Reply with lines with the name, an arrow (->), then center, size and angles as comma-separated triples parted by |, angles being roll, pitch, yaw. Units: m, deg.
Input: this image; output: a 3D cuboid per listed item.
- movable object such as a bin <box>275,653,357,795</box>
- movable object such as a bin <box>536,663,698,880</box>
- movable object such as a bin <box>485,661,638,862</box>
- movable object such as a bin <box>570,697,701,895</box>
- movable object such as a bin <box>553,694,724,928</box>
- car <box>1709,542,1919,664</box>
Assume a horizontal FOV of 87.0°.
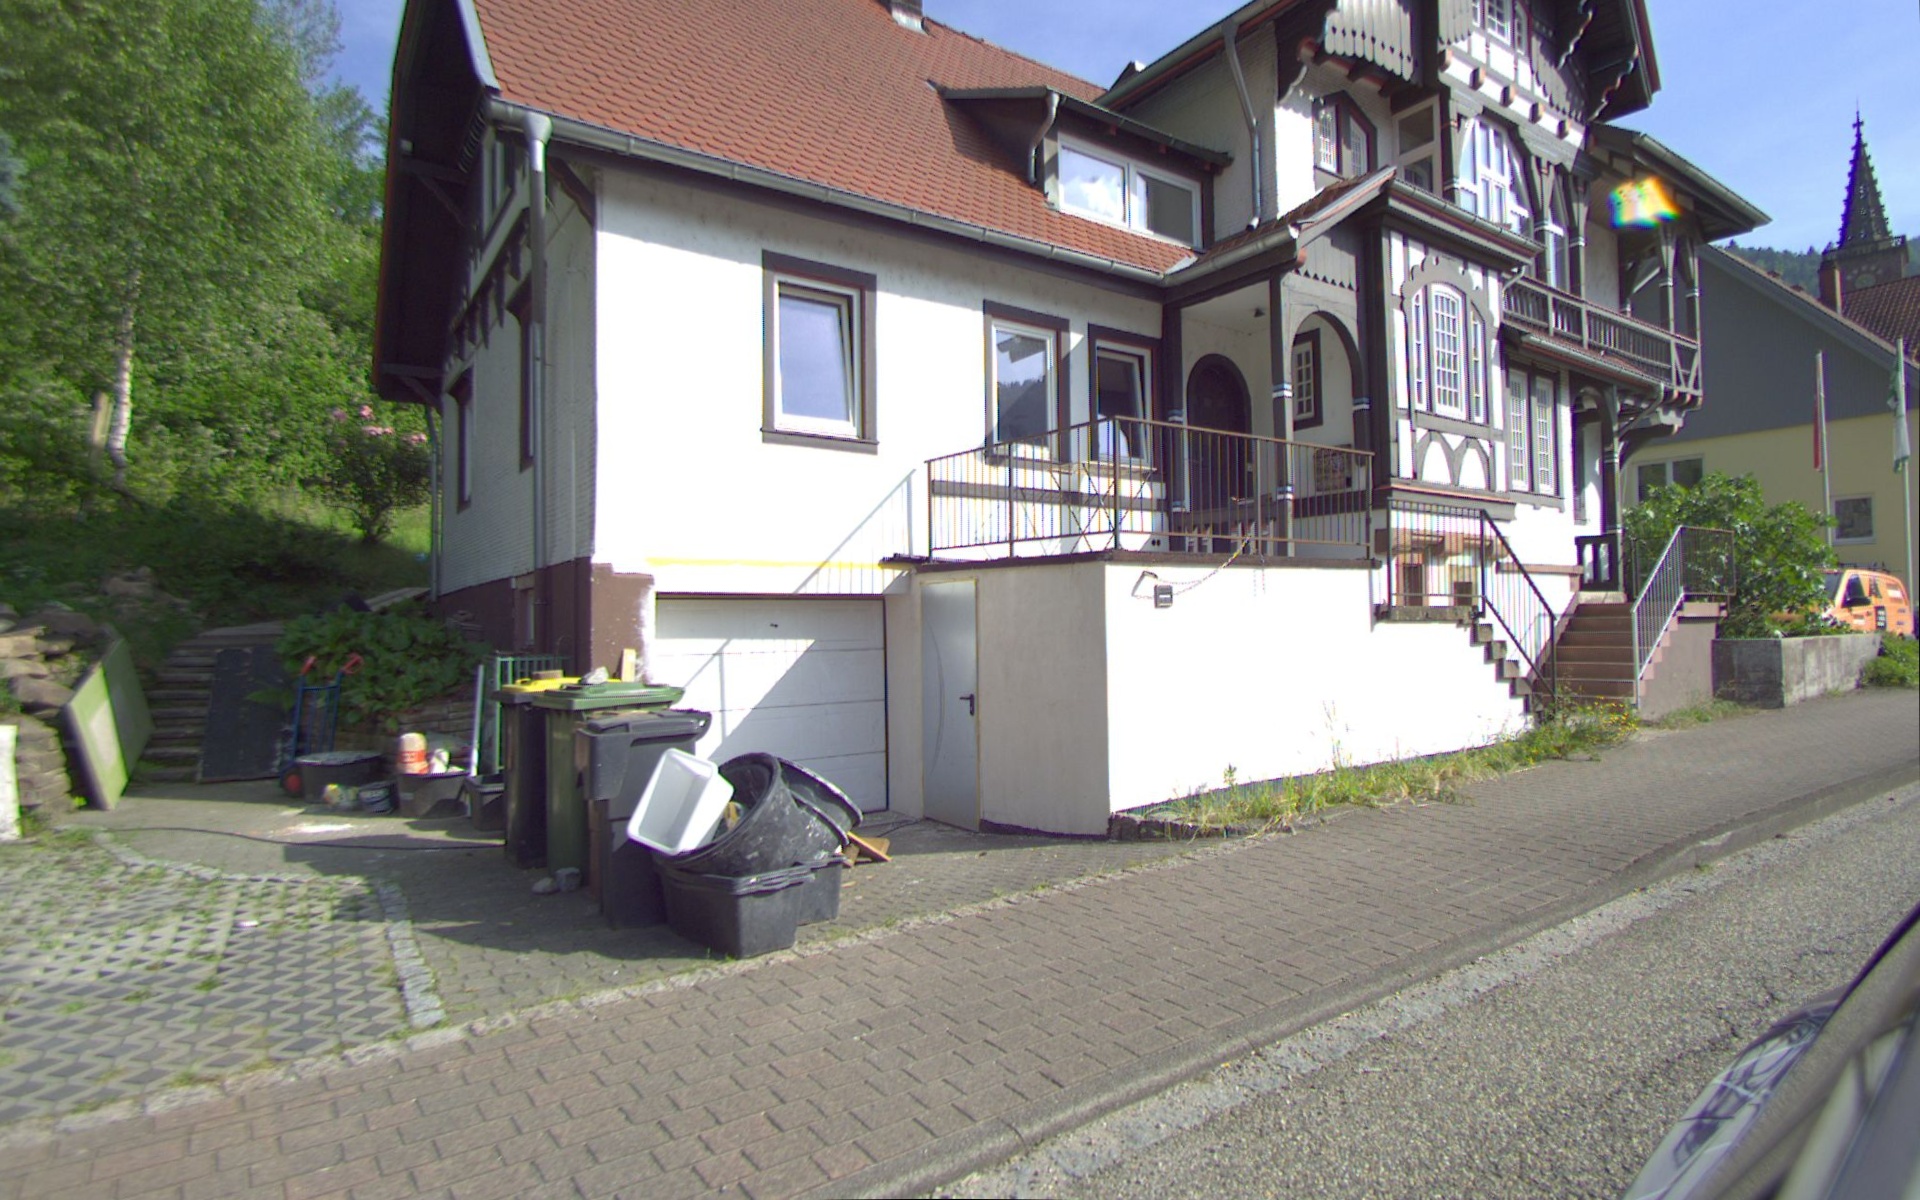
movable object such as a bin -> -5.286, 0.995, 8.307 | 0.523, 1.097, 0.426 | -3, -3, 39
movable object such as a bin -> -1.905, 0.908, 5.629 | 0.739, 1.076, 0.478 | 1, -3, -38
movable object such as a bin -> -2.364, 0.916, 6.007 | 0.739, 1.076, 0.478 | 1, -3, -38
movable object such as a bin -> -1.673, 0.980, 5.231 | 0.538, 0.911, 0.368 | 1, -3, -44
movable object such as a bin -> -1.504, 0.941, 4.738 | 0.640, 0.949, 0.472 | 1, -3, -38
car -> 16.232, 0.032, 19.001 | 4.741, 2.022, 1.916 | 1, 2, -33
